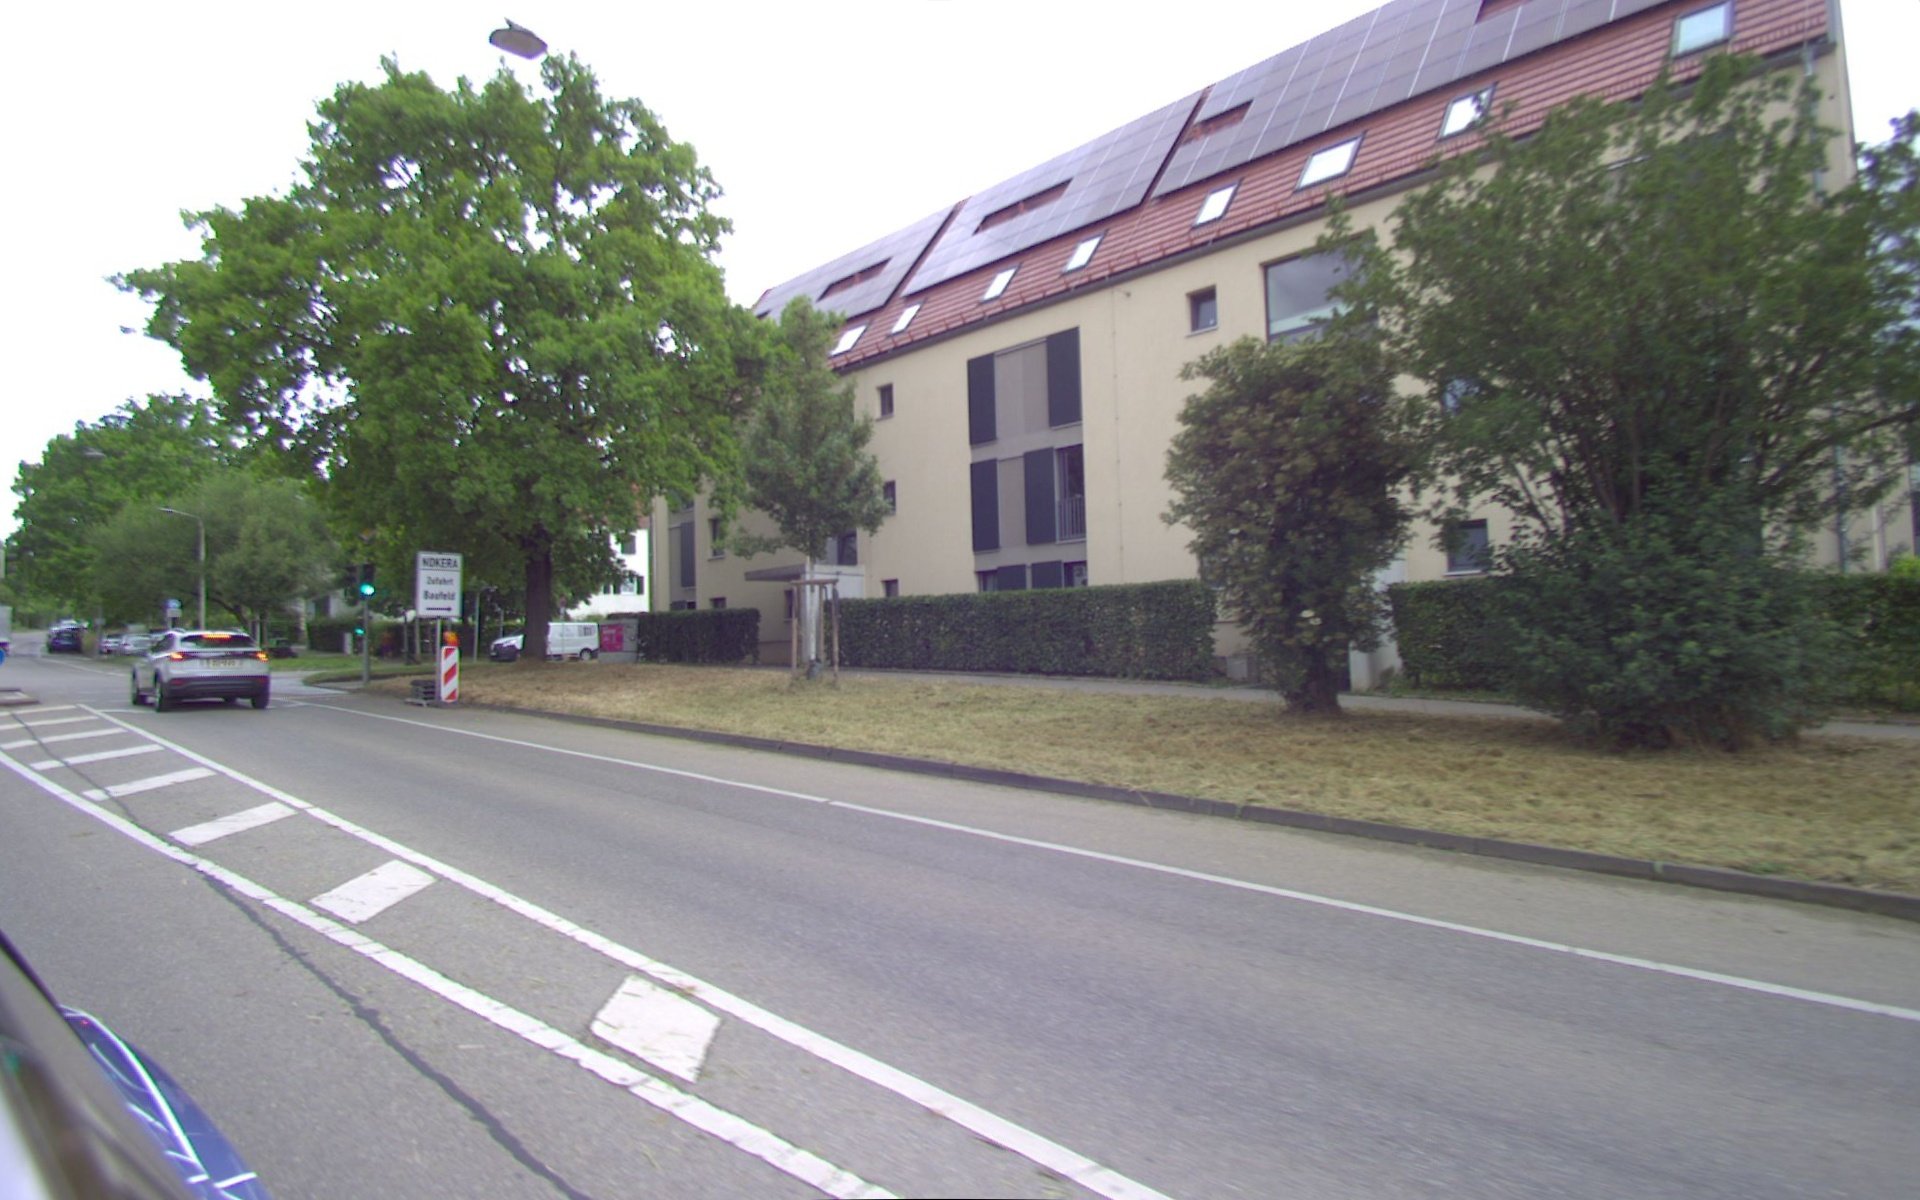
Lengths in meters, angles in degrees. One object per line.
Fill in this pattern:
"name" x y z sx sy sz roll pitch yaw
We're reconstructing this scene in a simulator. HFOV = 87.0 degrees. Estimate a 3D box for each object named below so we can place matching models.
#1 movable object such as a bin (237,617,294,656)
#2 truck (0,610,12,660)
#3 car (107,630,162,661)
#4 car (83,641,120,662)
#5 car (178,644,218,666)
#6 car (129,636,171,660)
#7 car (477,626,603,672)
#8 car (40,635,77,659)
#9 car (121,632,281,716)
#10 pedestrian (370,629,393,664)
"movable object such as a bin" -35.302 1.854 51.446 3.236 1.918 1.088 -2 -2 29
"truck" -65.407 2.353 67.668 7.216 3.262 2.340 -2 -3 43
"car" -48.502 2.640 59.449 4.547 1.689 1.971 -2 -2 44
"car" -57.964 3.460 68.339 1.582 1.364 4.002 0 -2 -45
"car" -53.463 3.845 70.978 3.874 1.442 1.657 -2 -2 44
"car" -55.791 3.283 69.691 4.002 1.618 1.835 -2 -2 45
"car" -19.592 2.240 47.337 2.000 1.932 5.083 -2 -2 43
"car" -66.212 3.431 74.346 1.969 1.697 4.006 0 -2 -41
"car" -14.888 1.383 19.778 4.029 1.475 1.782 -2 -4 43
"pedestrian" -29.649 2.399 51.889 0.683 1.770 0.774 -1 -1 12
